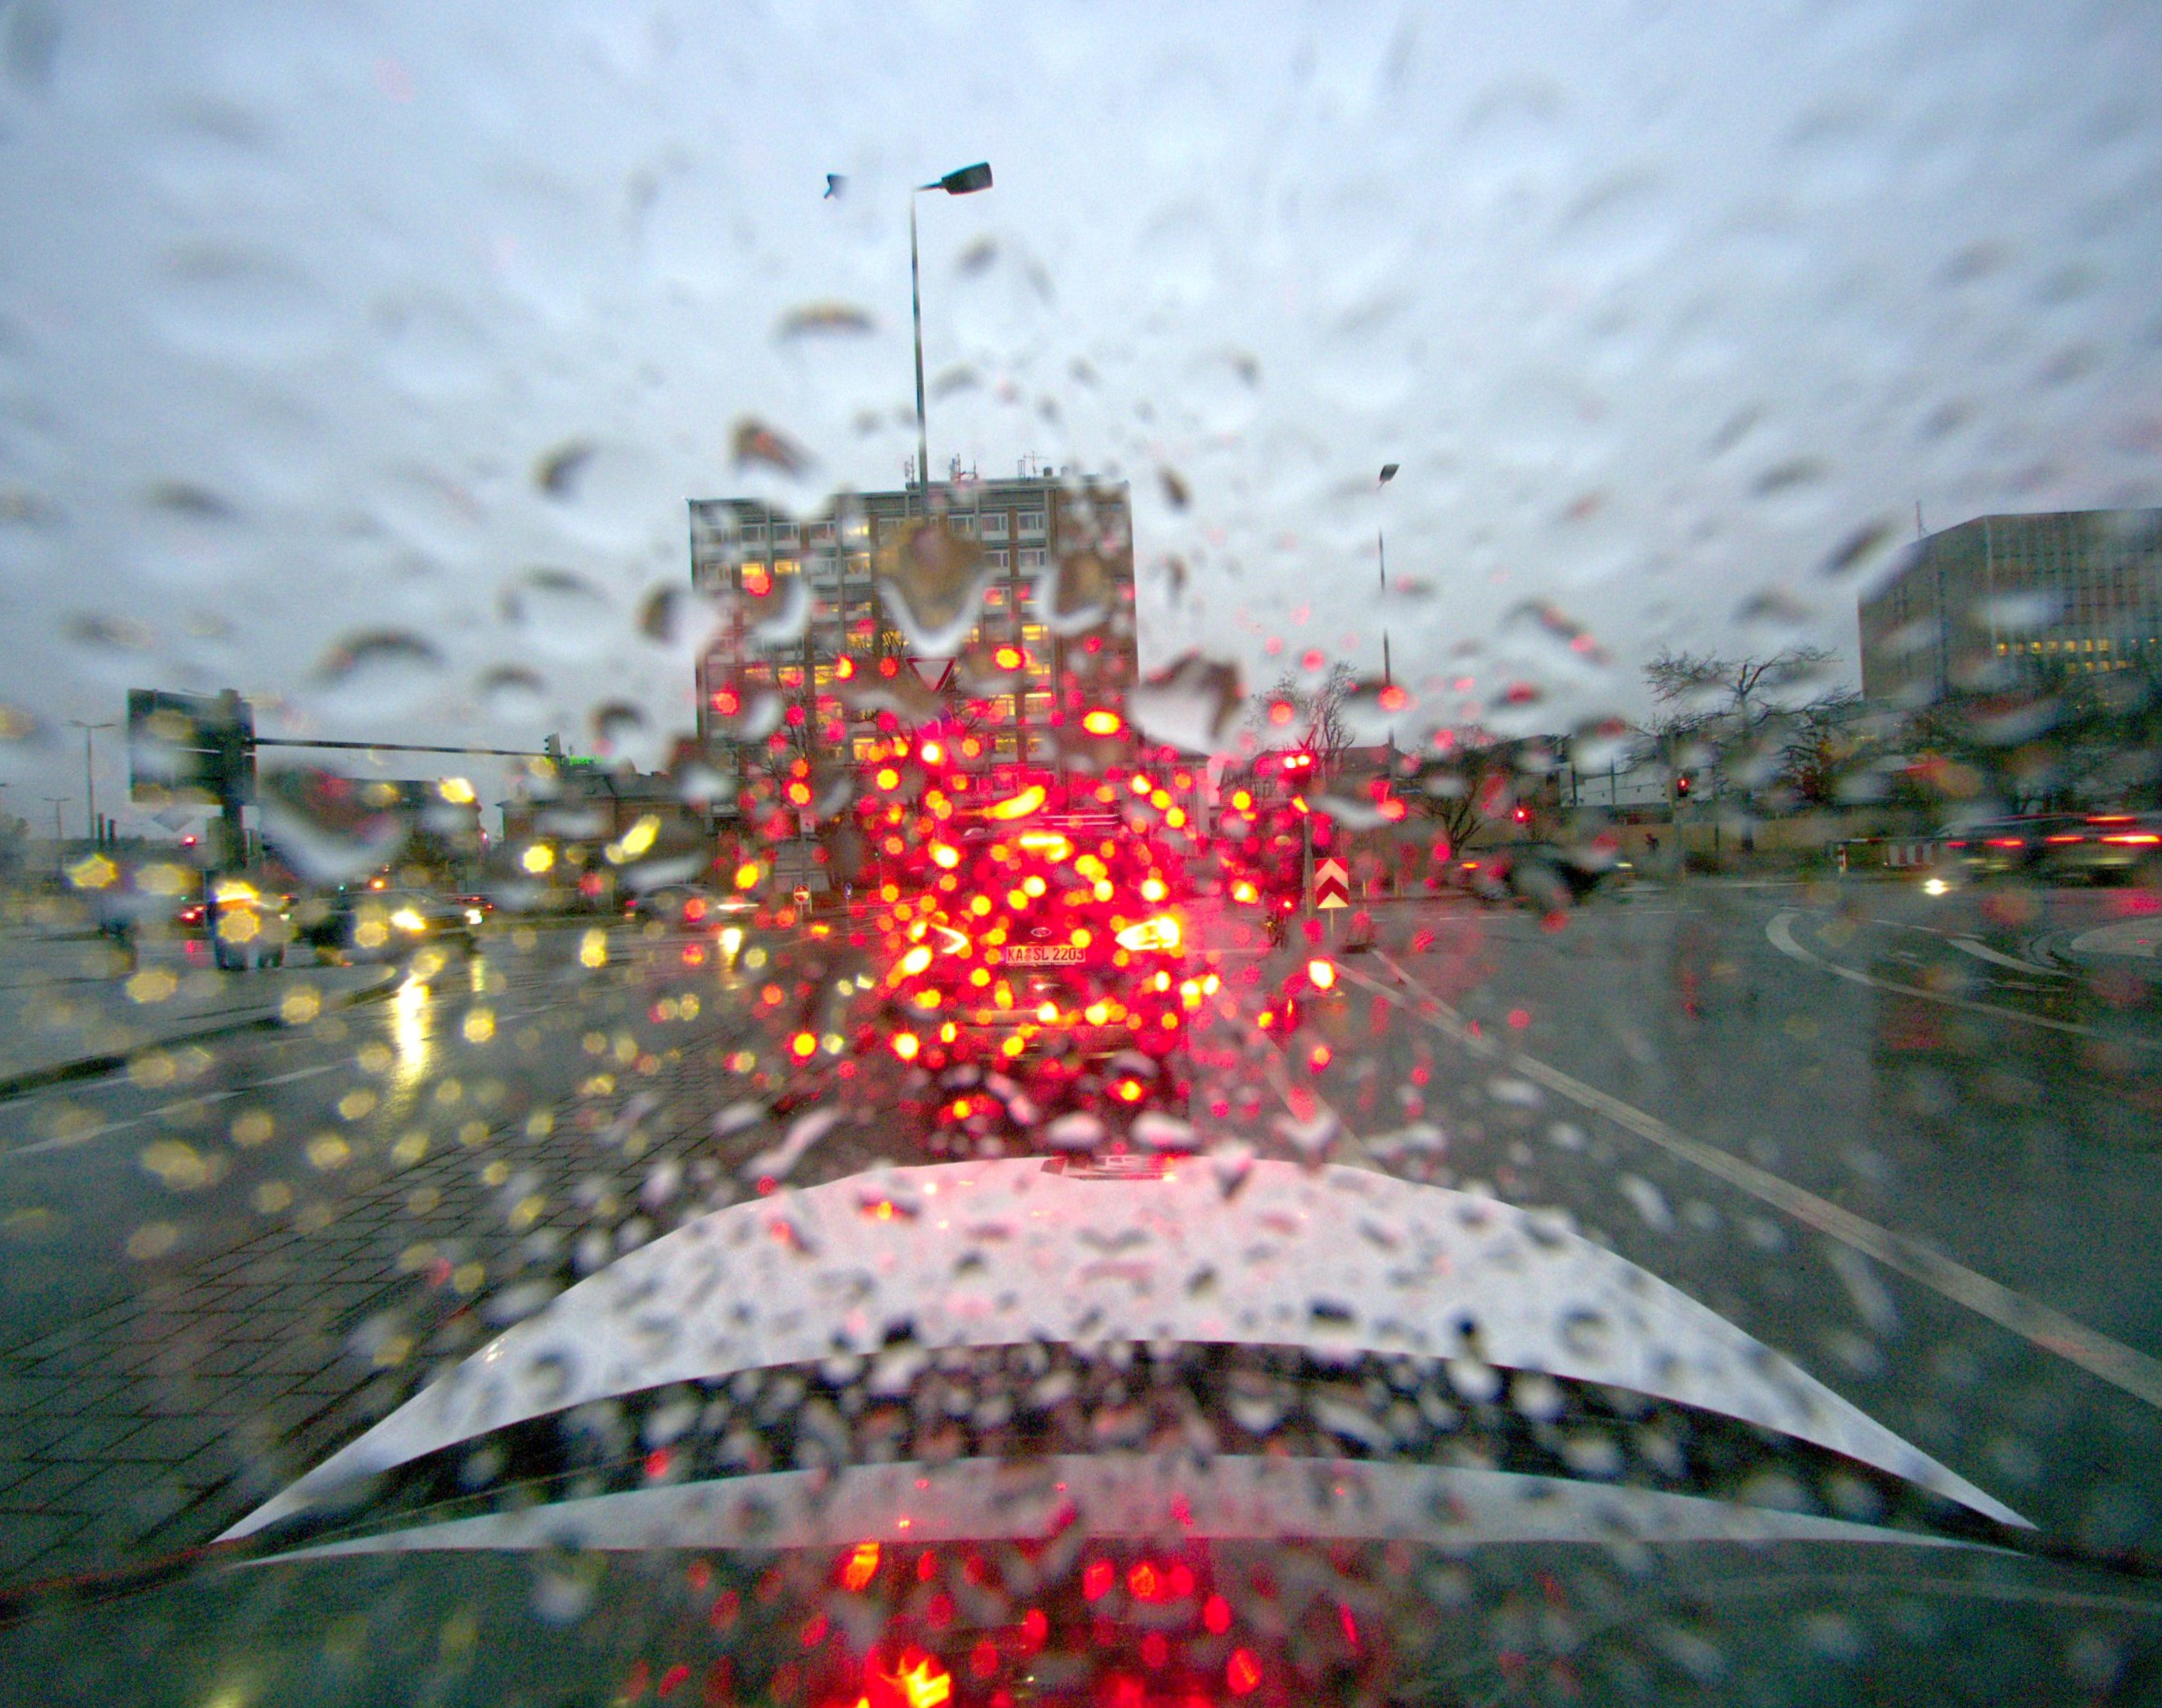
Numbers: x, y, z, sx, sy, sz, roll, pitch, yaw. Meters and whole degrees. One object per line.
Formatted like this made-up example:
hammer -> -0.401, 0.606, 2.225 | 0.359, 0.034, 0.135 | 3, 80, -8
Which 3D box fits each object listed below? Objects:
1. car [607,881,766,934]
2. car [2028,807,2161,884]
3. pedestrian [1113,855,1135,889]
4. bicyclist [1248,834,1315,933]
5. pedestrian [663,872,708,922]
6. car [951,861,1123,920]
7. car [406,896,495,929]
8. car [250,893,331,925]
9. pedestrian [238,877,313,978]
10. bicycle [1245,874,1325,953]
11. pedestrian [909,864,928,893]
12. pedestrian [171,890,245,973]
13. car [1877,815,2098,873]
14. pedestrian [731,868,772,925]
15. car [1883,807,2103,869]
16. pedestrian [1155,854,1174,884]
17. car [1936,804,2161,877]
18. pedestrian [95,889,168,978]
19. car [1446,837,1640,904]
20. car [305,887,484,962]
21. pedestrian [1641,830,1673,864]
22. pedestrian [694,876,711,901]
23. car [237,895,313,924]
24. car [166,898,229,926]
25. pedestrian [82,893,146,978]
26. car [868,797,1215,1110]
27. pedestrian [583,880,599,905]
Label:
car -> -13.040, 1.754, 26.983 | 4.621, 1.477, 1.818 | -3, -1, 15
car -> 22.705, -0.258, 16.421 | 4.550, 1.477, 1.816 | -3, -1, 10
pedestrian -> 2.410, 0.970, 45.194 | 0.990, 1.799, 0.922 | -3, 0, 10
bicyclist -> 3.057, 0.433, 12.513 | 0.780, 1.453, 1.134 | 0, -1, 2
pedestrian -> -15.721, 1.714, 32.370 | 0.991, 1.842, 1.146 | -3, 2, 35
car -> -1.256, 1.055, 23.810 | 4.623, 1.477, 1.818 | -3, -1, 13
car -> -33.332, 3.058, 43.077 | 3.954, 1.568, 1.836 | -1, -1, 20
car -> -51.162, 3.535, 52.773 | 1.649, 1.826, 3.609 | -1, -1, 39
pedestrian -> -17.277, 1.551, 17.503 | 0.996, 2.021, 0.792 | -3, 0, -39
bicycle -> 3.067, 0.856, 12.454 | 0.780, 1.075, 1.958 | 0, -1, 2
pedestrian -> -9.552, 1.459, 47.834 | 0.753, 1.628, 0.725 | -3, 0, 22
pedestrian -> -19.525, 1.713, 18.230 | 0.653, 1.755, 0.856 | -3, 0, 18
car -> 27.548, -0.267, 24.891 | 4.390, 1.477, 1.814 | -3, -1, 6
pedestrian -> -11.999, 1.520, 29.683 | 0.922, 1.978, 0.962 | -3, 0, 8
car -> 32.725, -0.543, 29.375 | 5.295, 1.880, 2.051 | -3, -1, 4
pedestrian -> 4.532, 0.809, 44.021 | 0.920, 1.533, 1.045 | -3, 0, 6
car -> 23.512, -0.325, 19.036 | 4.543, 1.477, 1.819 | -3, -1, 16
pedestrian -> -20.647, 1.720, 17.714 | 0.728, 1.838, 0.678 | -3, 0, 10
car -> 11.836, 0.420, 21.120 | 3.930, 1.477, 1.816 | -3, -1, 10
car -> -16.974, 1.744, 20.135 | 3.950, 1.577, 1.785 | -3, 0, 25
pedestrian -> 28.469, -0.330, 40.261 | 0.956, 1.603, 0.796 | -3, 0, 9
pedestrian -> -25.049, 2.284, 53.953 | 0.754, 1.628, 0.560 | -3, 0, 16
car -> -53.098, 3.619, 53.665 | 1.505, 1.702, 3.411 | -1, -1, 39
car -> -55.245, 3.596, 50.913 | 3.949, 1.568, 1.838 | -1, -1, 30
pedestrian -> -21.288, 1.786, 17.941 | 0.736, 1.770, 0.550 | -3, 0, 10
car -> -0.167, 0.590, 6.689 | 1.986, 1.789, 4.001 | 0, -1, 2
pedestrian -> -34.828, 2.753, 57.875 | 0.633, 1.688, 0.641 | -3, 0, 30
